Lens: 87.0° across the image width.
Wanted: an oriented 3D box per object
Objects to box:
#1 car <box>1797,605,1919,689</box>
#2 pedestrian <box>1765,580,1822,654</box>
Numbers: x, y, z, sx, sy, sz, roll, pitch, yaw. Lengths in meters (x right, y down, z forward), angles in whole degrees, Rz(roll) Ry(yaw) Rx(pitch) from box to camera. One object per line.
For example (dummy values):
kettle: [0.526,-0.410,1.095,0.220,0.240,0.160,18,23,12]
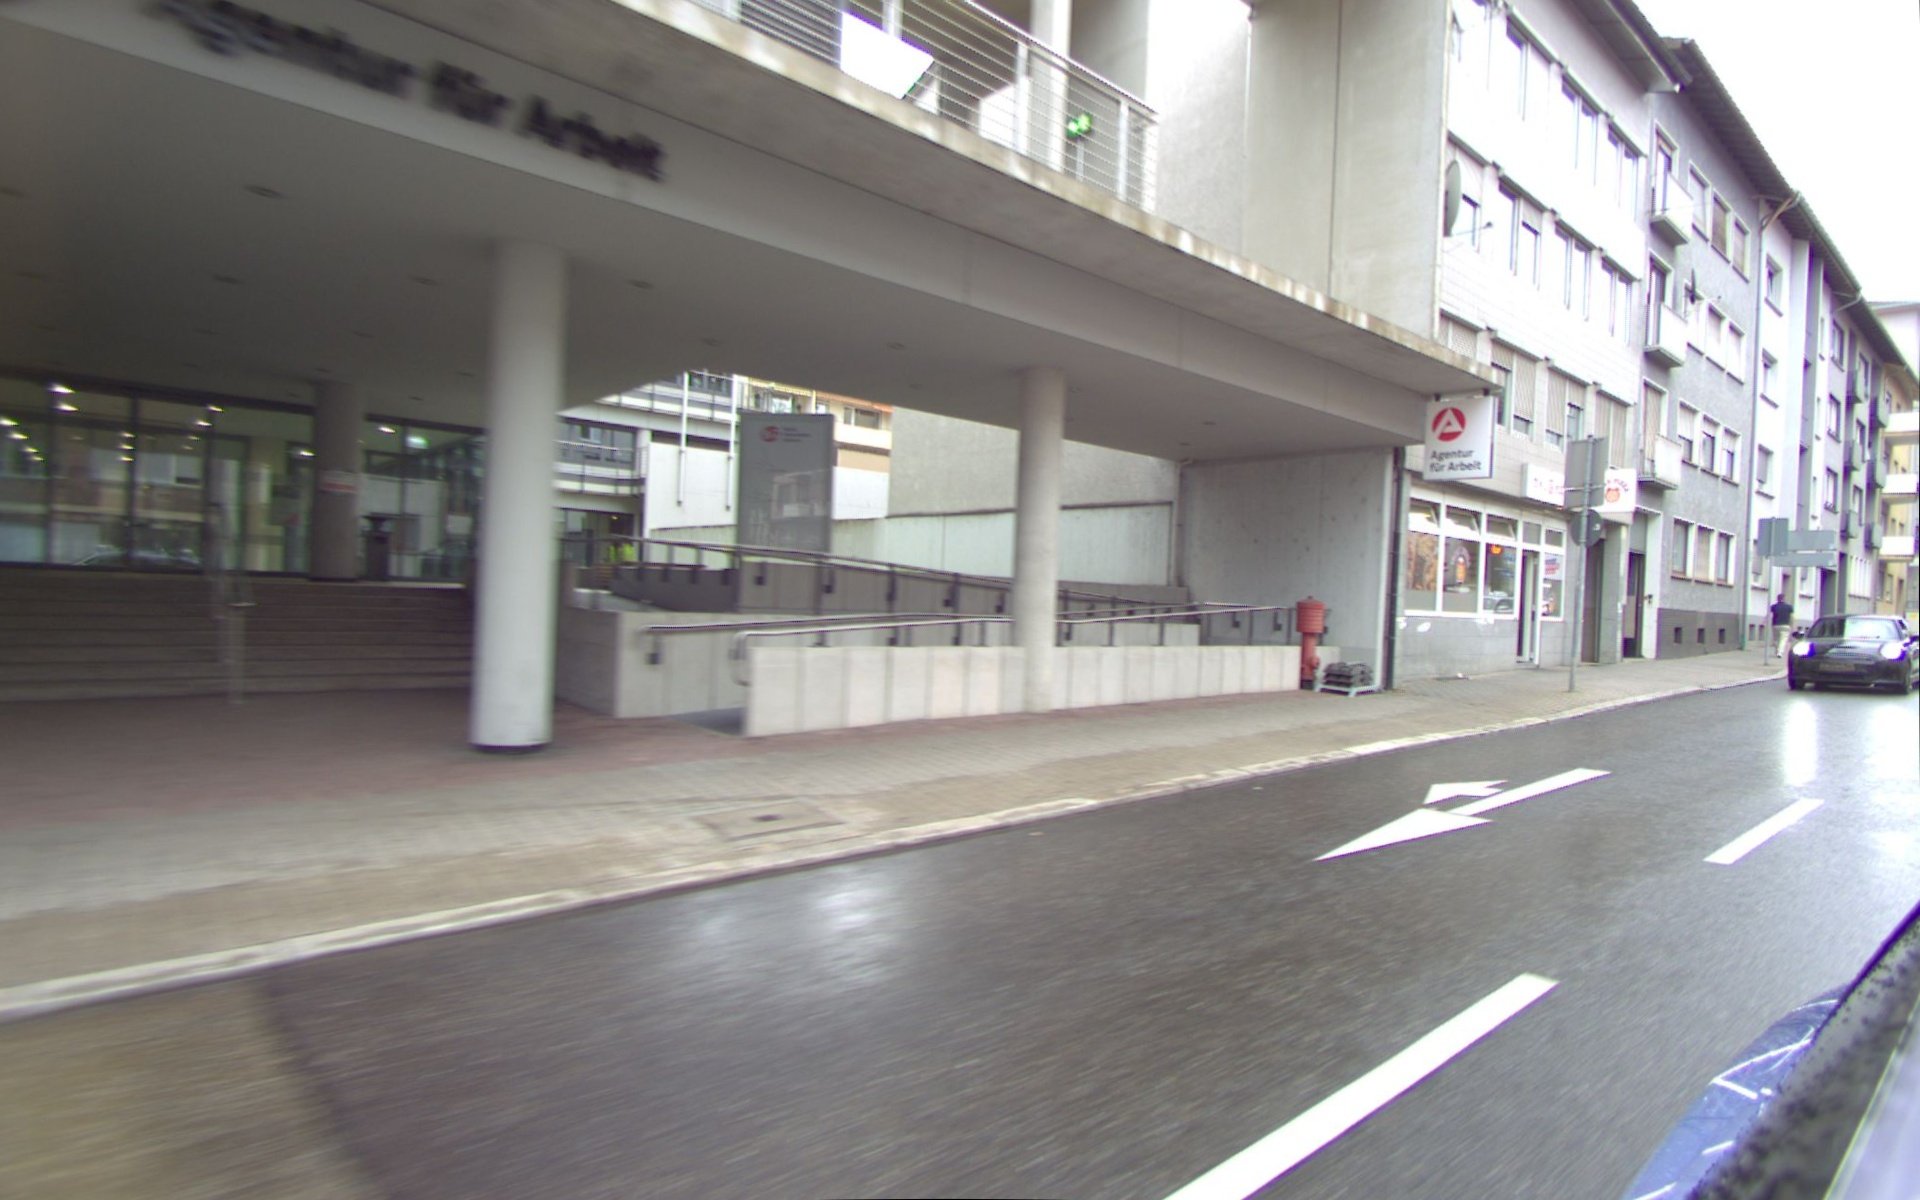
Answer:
car: [17.604,0.818,19.272,4.143,1.395,1.854,-1,-1,-40]
pedestrian: [22.735,0.440,27.602,1.100,1.888,0.871,0,5,-40]
